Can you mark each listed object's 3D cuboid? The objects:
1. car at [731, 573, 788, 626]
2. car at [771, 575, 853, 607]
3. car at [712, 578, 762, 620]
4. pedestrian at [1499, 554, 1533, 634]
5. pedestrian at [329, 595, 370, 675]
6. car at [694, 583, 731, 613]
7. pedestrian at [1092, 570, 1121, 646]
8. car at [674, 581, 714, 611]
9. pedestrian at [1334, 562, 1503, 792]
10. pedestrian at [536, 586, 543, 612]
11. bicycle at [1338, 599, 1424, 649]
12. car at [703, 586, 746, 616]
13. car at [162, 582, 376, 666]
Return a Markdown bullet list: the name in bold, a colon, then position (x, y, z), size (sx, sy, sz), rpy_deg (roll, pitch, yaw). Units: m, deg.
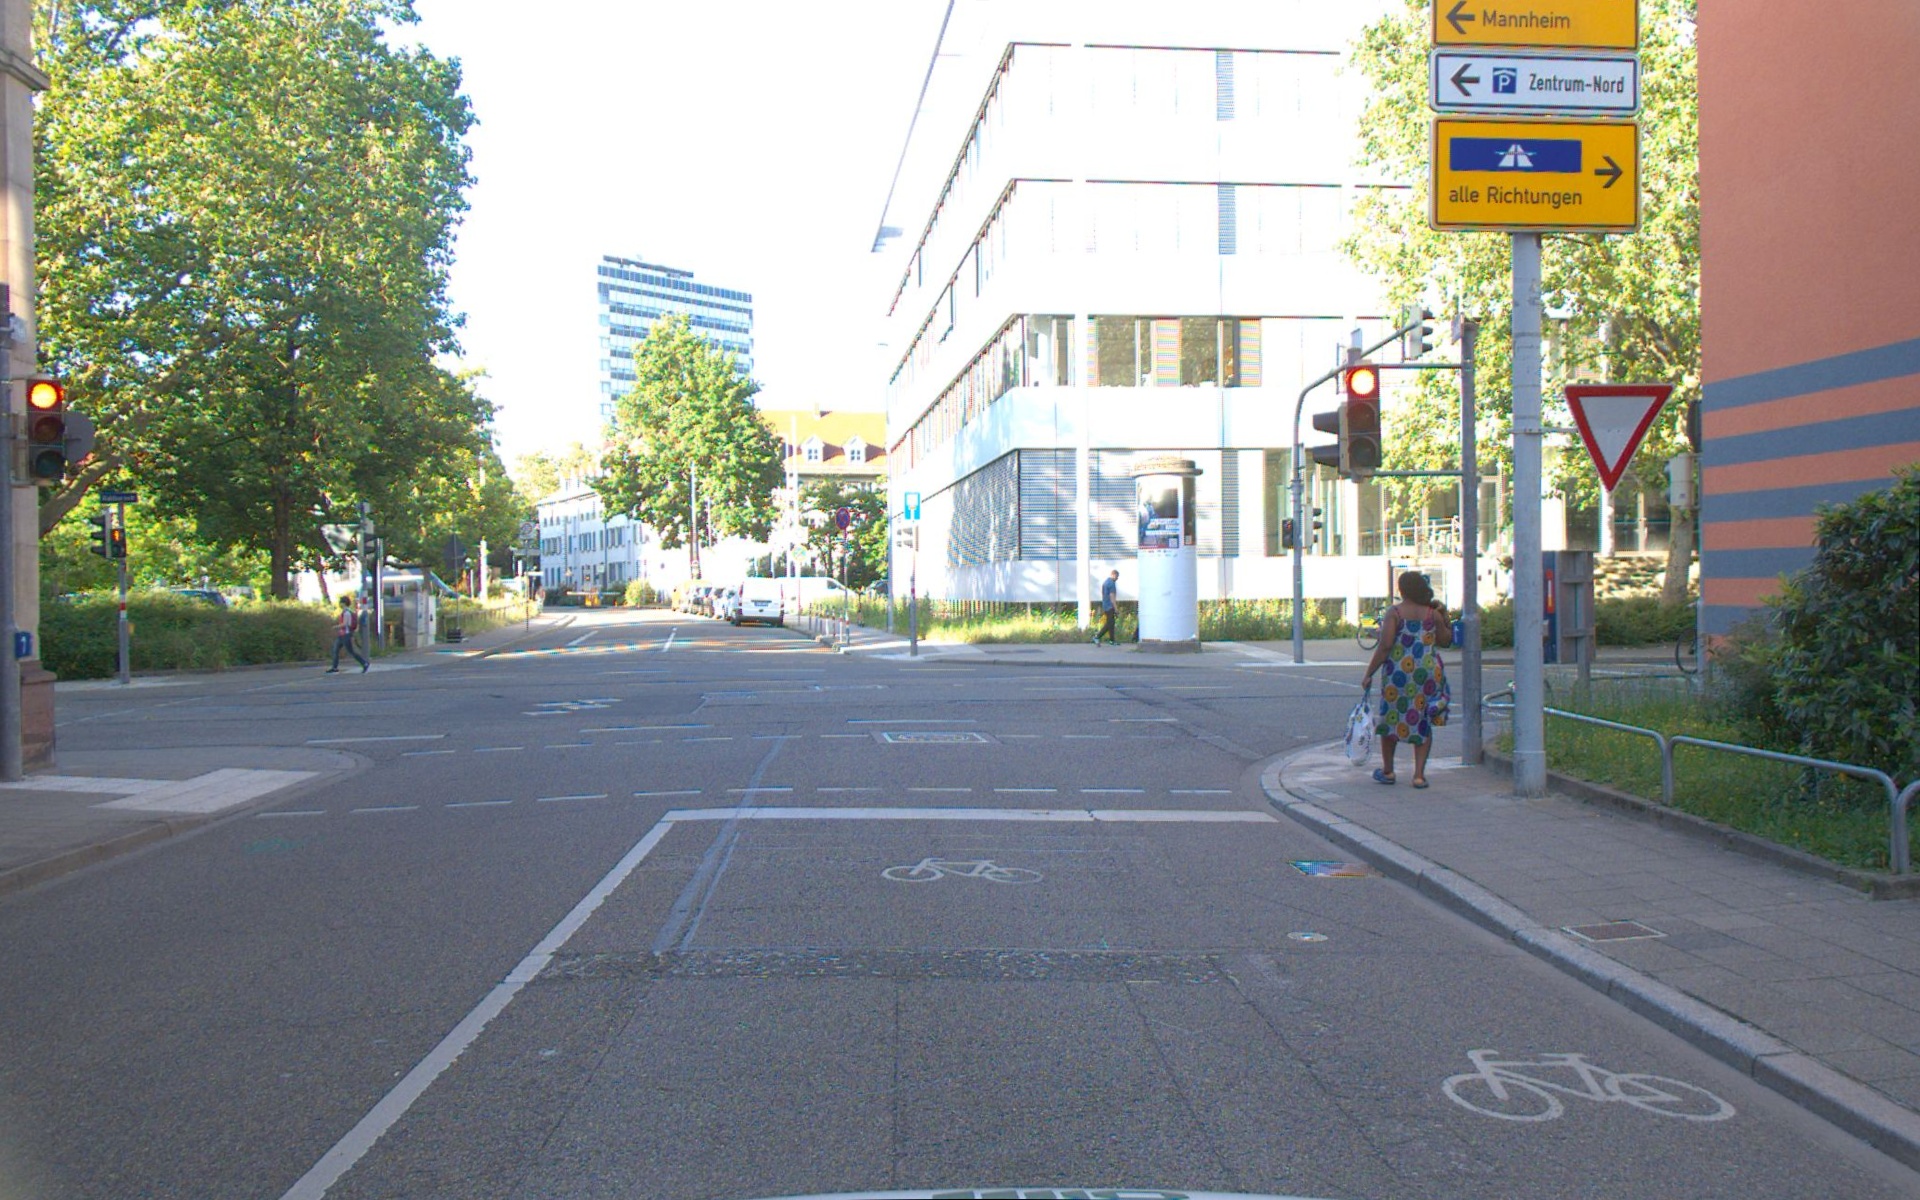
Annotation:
- **car**: position (-7.864, -0.041, 64.539), size (2.029, 1.997, 4.229), rpy_deg (-1, 0, -9)
- **car**: position (-9.207, -0.522, 102.683), size (4.804, 1.905, 1.990), rpy_deg (1, -1, -17)
- **car**: position (-10.328, -0.059, 76.300), size (1.913, 1.826, 4.224), rpy_deg (-1, 0, -13)
- **pedestrian**: position (13.065, -0.141, 38.905), size (0.526, 1.863, 1.041), rpy_deg (-1, 0, 6)
- **pedestrian**: position (-12.705, 0.716, 34.416), size (0.704, 1.627, 0.611), rpy_deg (-1, 0, -28)
- **car**: position (-12.853, -0.112, 85.659), size (1.674, 1.490, 4.226), rpy_deg (-1, 1, -11)
- **pedestrian**: position (3.445, 0.189, 38.872), size (0.639, 1.766, 0.812), rpy_deg (-1, 0, 4)
- **car**: position (-15.381, -0.237, 95.444), size (2.063, 1.687, 4.463), rpy_deg (-1, 1, -11)
- **pedestrian**: position (3.403, 0.556, 12.349), size (0.935, 1.600, 0.750), rpy_deg (-4, 0, -3)
- **pedestrian**: position (-25.353, -0.050, 99.694), size (0.373, 1.561, 0.444), rpy_deg (-1, 0, -13)
- **bicycle**: position (9.222, 0.525, 36.266), size (0.460, 1.067, 1.886), rpy_deg (-1, 0, -42)
- **car**: position (-11.565, 0.031, 81.170), size (1.675, 1.449, 4.223), rpy_deg (-1, 1, -14)
- **car**: position (-15.765, 0.525, 37.922), size (4.146, 1.808, 1.901), rpy_deg (-1, 0, -9)
